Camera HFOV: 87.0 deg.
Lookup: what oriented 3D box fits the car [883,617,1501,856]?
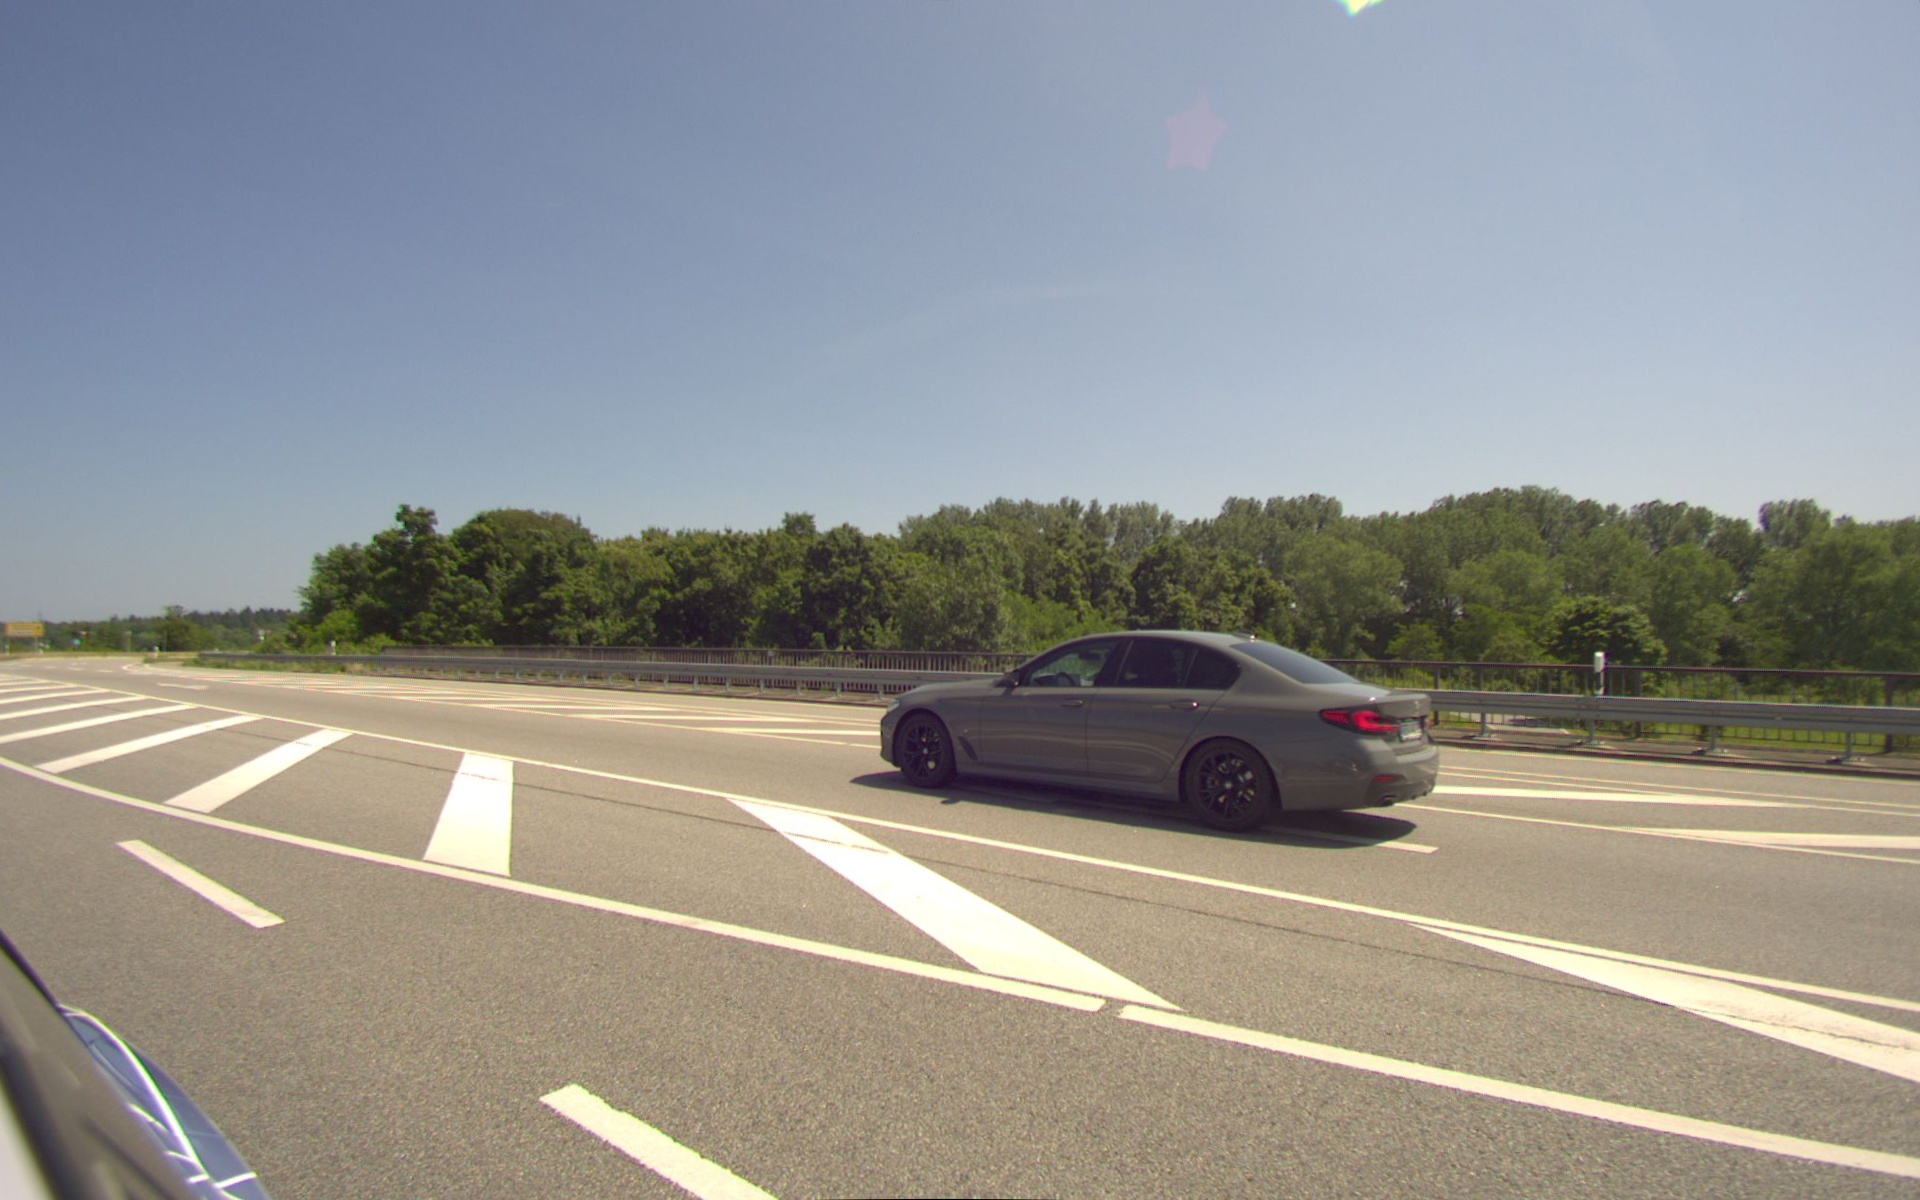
[{"bbox_3d":[1.658,0.934,8.450,4.791,1.464,1.706,-2,-4,41],"label":"car"}]
